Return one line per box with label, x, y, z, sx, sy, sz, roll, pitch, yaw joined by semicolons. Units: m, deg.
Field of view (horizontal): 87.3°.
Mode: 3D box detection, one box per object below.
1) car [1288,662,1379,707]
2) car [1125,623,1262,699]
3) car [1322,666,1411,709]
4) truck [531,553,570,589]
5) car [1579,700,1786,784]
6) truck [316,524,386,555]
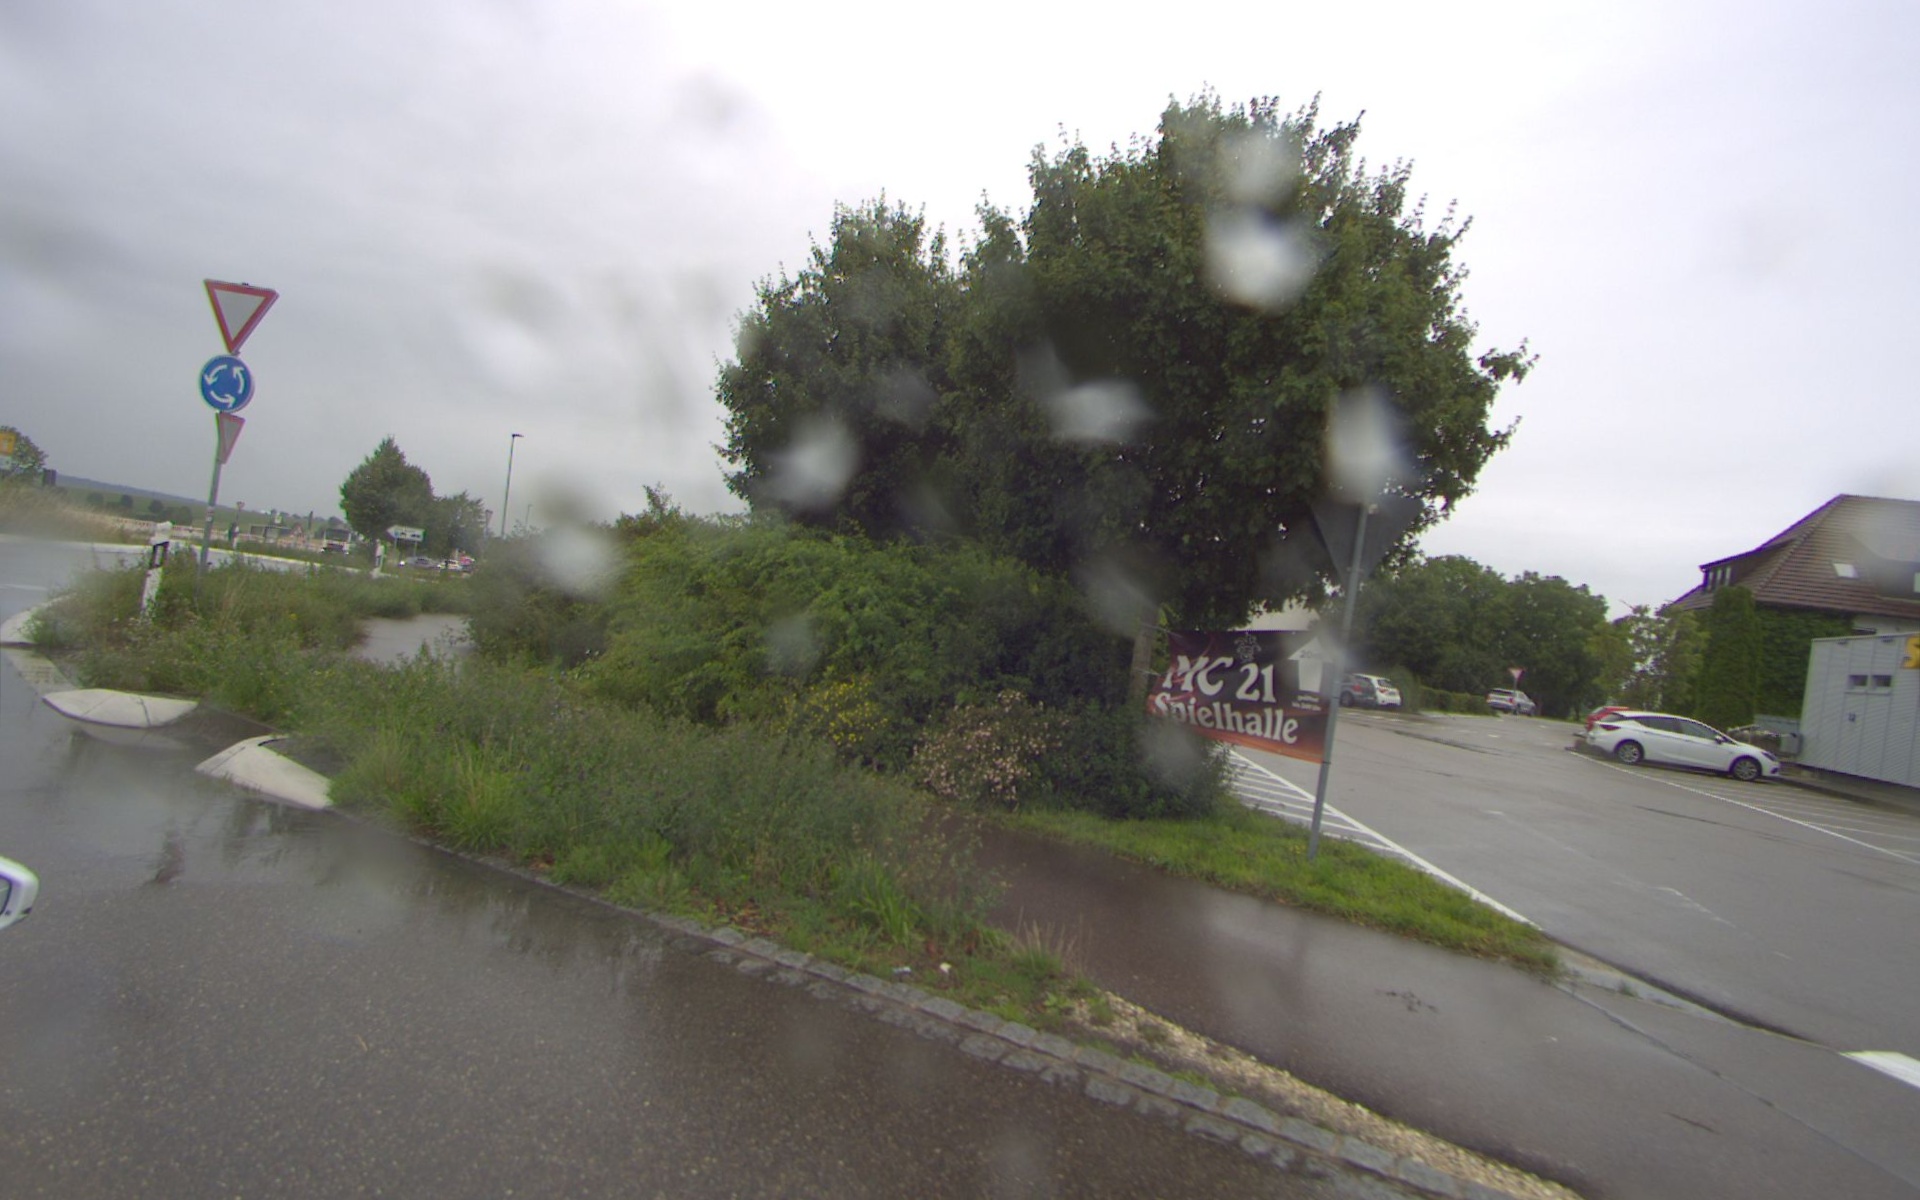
car;16.653;3.746;44.995;1.566;1.475;3.658;7;-1;-25
car;8.437;2.176;36.324;4.451;2.058;1.645;7;0;21
car;18.988;4.087;47.185;1.566;1.475;3.658;7;-1;-25
truck;-55.716;-3.988;136.698;2.880;4.341;8.737;7;-1;-33
car;19.420;3.787;27.251;4.111;1.516;1.718;7;-1;20
truck;-57.775;-5.693;95.709;2.476;2.250;8.398;6;0;-9
